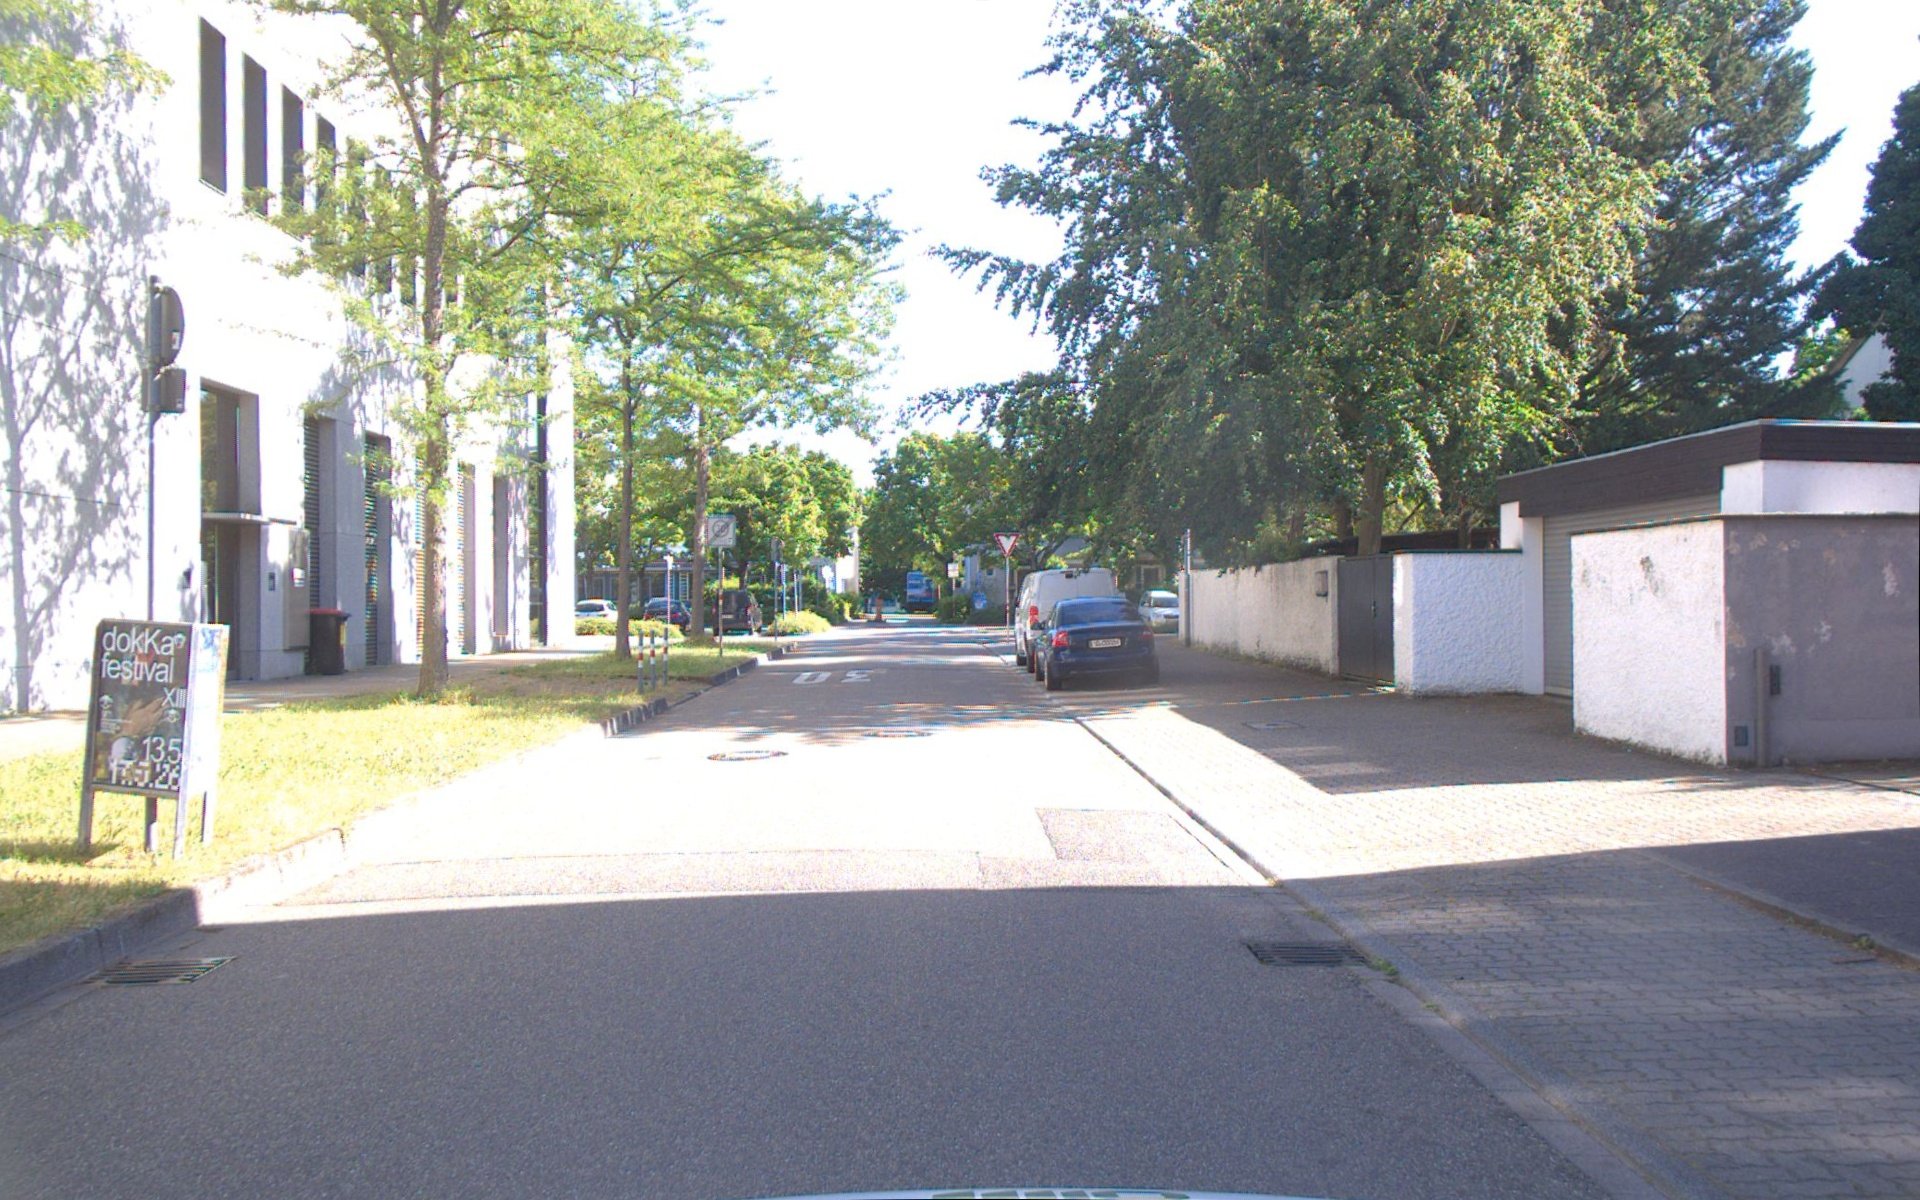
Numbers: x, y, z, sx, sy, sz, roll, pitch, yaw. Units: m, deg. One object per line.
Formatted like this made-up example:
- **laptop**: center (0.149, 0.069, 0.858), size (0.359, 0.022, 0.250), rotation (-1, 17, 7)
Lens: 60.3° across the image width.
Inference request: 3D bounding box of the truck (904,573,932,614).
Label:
- **truck**: center (-4.119, -0.599, 164.013), size (2.704, 3.937, 9.327), rotation (1, 0, -1)

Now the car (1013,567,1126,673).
- **car**: center (2.141, 0.374, 33.515), size (1.860, 1.947, 5.147), rotation (-1, 0, -1)

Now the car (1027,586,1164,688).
- **car**: center (2.140, 0.558, 27.254), size (1.789, 1.448, 4.282), rotation (-3, 0, -1)

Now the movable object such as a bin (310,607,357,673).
- **movable object such as a bin**: center (-10.278, 0.649, 27.144), size (0.581, 1.058, 0.543), rotation (1, 0, -3)

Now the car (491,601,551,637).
- **car**: center (-18.175, 0.775, 68.621), size (1.634, 1.451, 3.909), rotation (1, 0, -3)

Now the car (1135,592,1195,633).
- **car**: center (8.574, 0.498, 69.472), size (1.787, 1.626, 4.166), rotation (-1, 1, -3)

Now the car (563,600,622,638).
- **car**: center (-15.308, 0.766, 69.072), size (1.767, 1.461, 3.910), rotation (0, 1, -3)

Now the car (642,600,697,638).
- **car**: center (-12.081, 0.756, 68.976), size (1.787, 1.430, 4.166), rotation (-1, 1, -3)

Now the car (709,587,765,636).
- **car**: center (-9.264, 0.455, 69.032), size (1.836, 1.879, 4.167), rotation (-1, 1, -1)
